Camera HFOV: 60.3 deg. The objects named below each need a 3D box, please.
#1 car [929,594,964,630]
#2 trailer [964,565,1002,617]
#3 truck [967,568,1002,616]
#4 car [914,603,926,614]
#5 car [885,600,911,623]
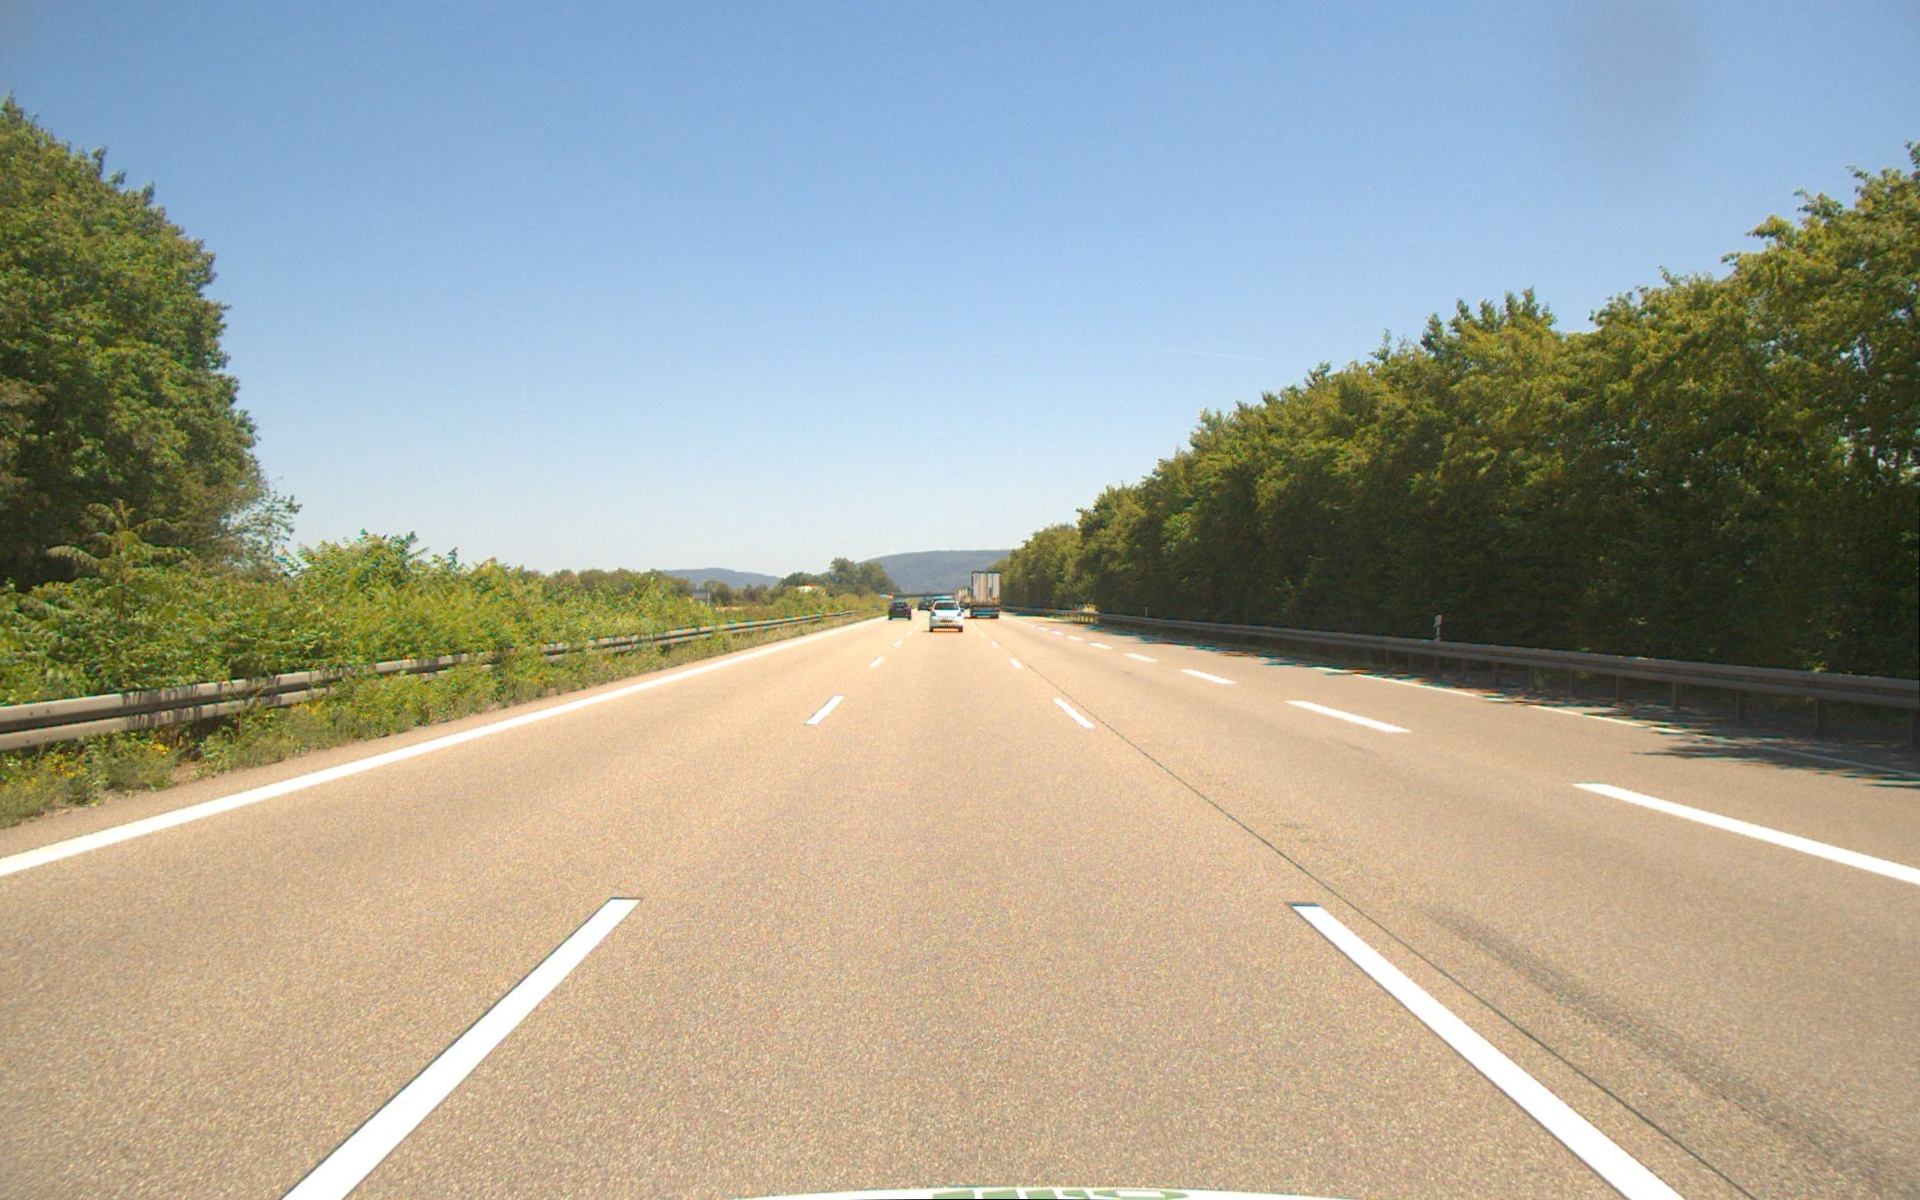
[{"bbox_3d":[-0.693,0.584,82.545,1.697,1.713,3.999,-1,0,-1],"label":"car"},{"bbox_3d":[2.181,-0.771,150.179,3.151,4.421,13.631,1,0,2],"label":"trailer"},{"bbox_3d":[2.408,-0.751,157.760,3.151,4.421,6.592,1,0,2],"label":"truck"},{"bbox_3d":[-5.827,1.174,240.060,1.759,1.578,3.999,0,-1,-1],"label":"car"},{"bbox_3d":[-4.819,0.893,129.188,1.953,1.742,3.999,1,0,-1],"label":"car"}]
